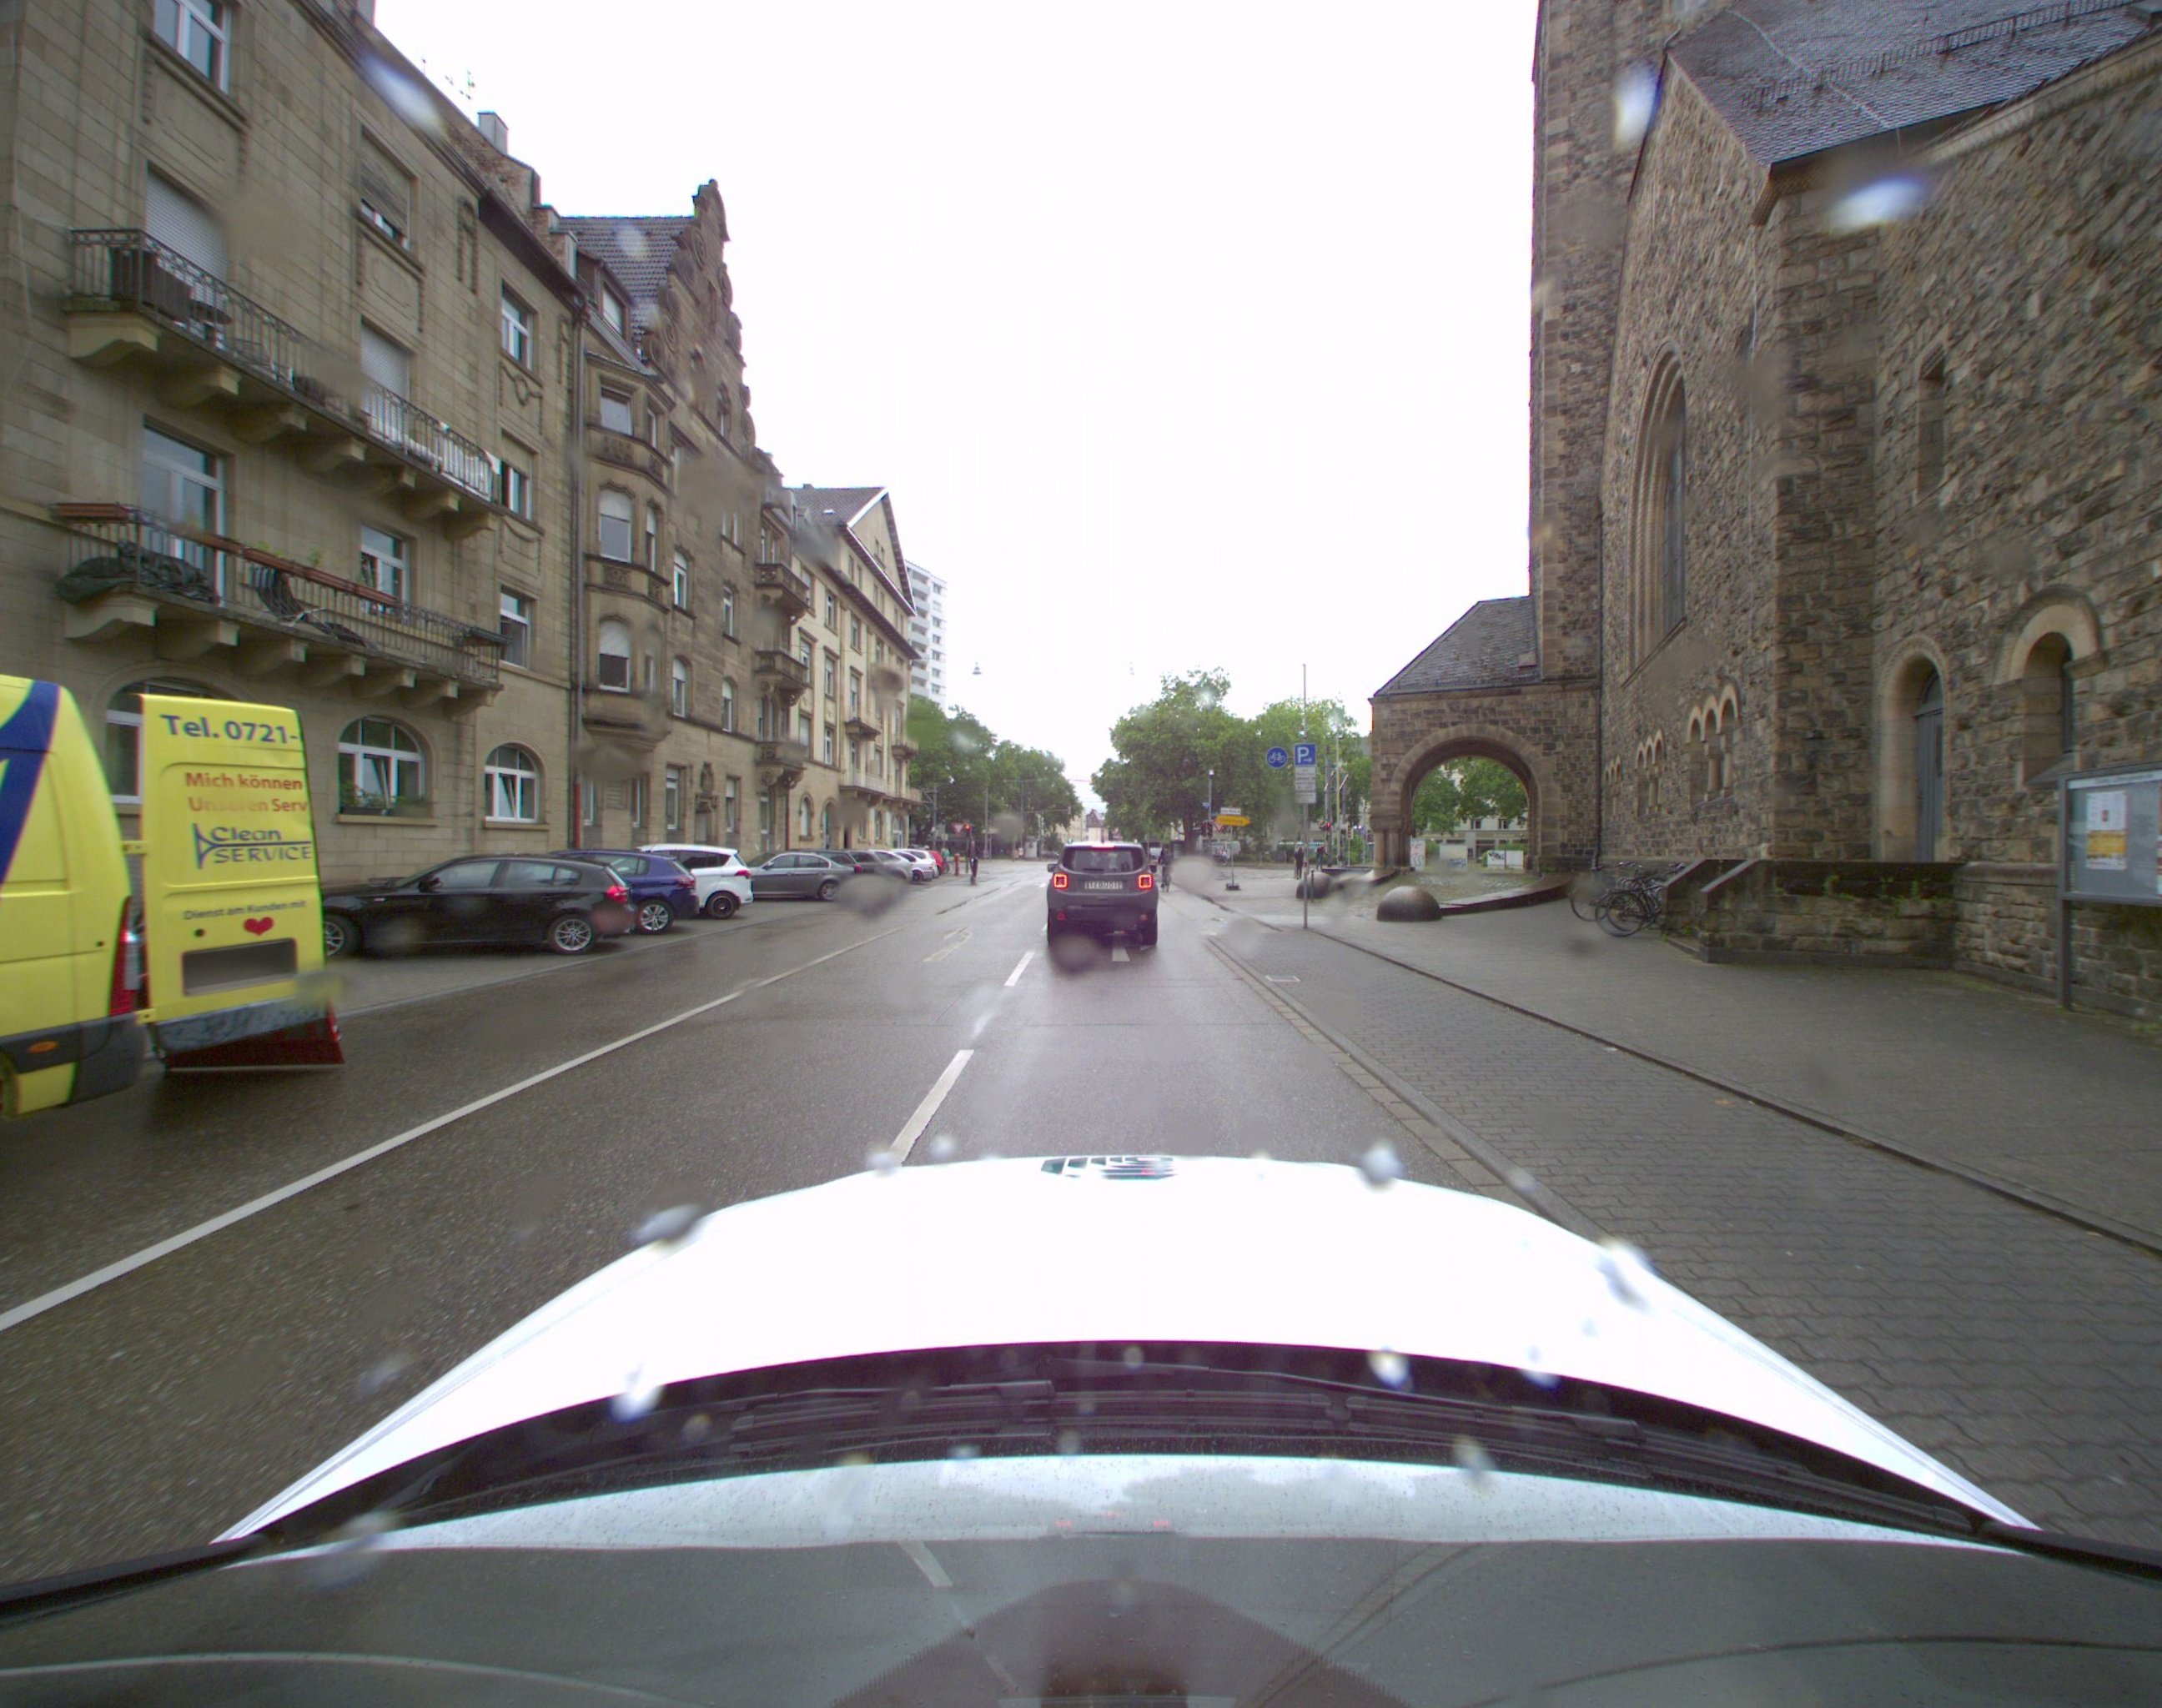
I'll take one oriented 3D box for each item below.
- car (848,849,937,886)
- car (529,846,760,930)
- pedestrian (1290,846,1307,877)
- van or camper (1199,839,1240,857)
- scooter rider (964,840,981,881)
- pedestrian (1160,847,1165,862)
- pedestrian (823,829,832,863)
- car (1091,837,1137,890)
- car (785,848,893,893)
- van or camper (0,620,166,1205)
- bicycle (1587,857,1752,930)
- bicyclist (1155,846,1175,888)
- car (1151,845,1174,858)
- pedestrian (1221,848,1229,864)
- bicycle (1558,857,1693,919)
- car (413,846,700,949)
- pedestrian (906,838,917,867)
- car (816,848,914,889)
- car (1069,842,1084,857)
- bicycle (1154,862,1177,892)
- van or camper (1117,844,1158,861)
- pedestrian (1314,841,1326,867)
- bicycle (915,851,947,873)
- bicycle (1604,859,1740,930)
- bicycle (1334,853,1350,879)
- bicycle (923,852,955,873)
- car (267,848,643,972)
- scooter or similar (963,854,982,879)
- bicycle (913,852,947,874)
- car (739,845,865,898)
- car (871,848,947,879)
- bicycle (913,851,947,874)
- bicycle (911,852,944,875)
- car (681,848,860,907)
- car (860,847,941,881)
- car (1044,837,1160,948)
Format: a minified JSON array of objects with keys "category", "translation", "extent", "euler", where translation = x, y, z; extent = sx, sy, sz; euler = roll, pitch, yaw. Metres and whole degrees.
[{"category":"car","translation":[-8.289,0.541,35.863],"extent":[3.418,1.558,1.687],"euler":[0,0,-37]},{"category":"car","translation":[-9.151,0.619,17.236],"extent":[4.063,1.555,1.778],"euler":[-1,0,-38]},{"category":"pedestrian","translation":[11.507,0.399,43.053],"extent":[0.776,1.645,0.658],"euler":[-1,0,19]},{"category":"van or camper","translation":[18.241,-0.784,107.221],"extent":[5.232,2.315,2.093],"euler":[1,1,6]},{"category":"scooter rider","translation":[-5.212,0.300,39.239],"extent":[0.708,1.935,0.503],"euler":[-1,0,0]},{"category":"pedestrian","translation":[10.580,0.054,105.538],"extent":[0.646,2.013,0.484],"euler":[0,0,15]},{"category":"pedestrian","translation":[-13.352,-0.423,42.890],"extent":[0.365,1.822,0.347],"euler":[-1,0,0]},{"category":"car","translation":[1.332,0.332,33.059],"extent":[1.763,2.013,4.002],"euler":[0,0,2]},{"category":"car","translation":[-8.766,0.550,29.568],"extent":[3.418,1.558,1.634],"euler":[0,0,-37]},{"category":"van or camper","translation":[-5.928,0.293,1.284],"extent":[2.189,2.611,5.942],"euler":[-1,0,0]},{"category":"bicycle","translation":[8.967,0.605,12.481],"extent":[1.969,1.054,0.515],"euler":[-2,-1,16]},{"category":"bicyclist","translation":[3.274,0.497,31.613],"extent":[0.684,1.617,0.884],"euler":[-1,0,1]},{"category":"car","translation":[13.242,-0.360,132.157],"extent":[3.410,2.014,1.554],"euler":[-1,0,16]},{"category":"pedestrian","translation":[14.489,0.222,81.930],"extent":[0.607,1.603,0.497],"euler":[0,0,27]},{"category":"bicycle","translation":[10.272,0.639,15.432],"extent":[1.970,1.105,0.694],"euler":[-2,-1,13]},{"category":"car","translation":[-9.018,0.668,14.433],"extent":[4.053,1.573,1.783],"euler":[-1,0,-27]},{"category":"pedestrian","translation":[-11.883,-0.133,57.132],"extent":[0.565,2.013,0.655],"euler":[0,0,2]},{"category":"car","translation":[-8.606,0.543,32.563],"extent":[3.418,1.558,1.687],"euler":[0,0,-37]},{"category":"car","translation":[-0.600,-0.560,97.845],"extent":[1.716,1.739,3.728],"euler":[0,0,-1]},{"category":"bicycle","translation":[3.273,0.872,31.661],"extent":[0.689,1.021,2.659],"euler":[-1,0,2]},{"category":"van or camper","translation":[9.576,-0.305,138.414],"extent":[6.465,2.912,2.510],"euler":[0,0,29]},{"category":"pedestrian","translation":[16.369,0.008,55.759],"extent":[0.779,1.759,0.950],"euler":[-1,0,17]},{"category":"bicycle","translation":[-8.778,0.475,47.638],"extent":[1.757,1.266,0.608],"euler":[0,0,0]},{"category":"bicycle","translation":[9.697,0.659,13.423],"extent":[1.695,1.111,0.564],"euler":[-2,-1,16]},{"category":"bicycle","translation":[11.958,0.528,37.311],"extent":[0.327,1.154,2.080],"euler":[0,0,8]},{"category":"bicycle","translation":[-8.457,0.512,48.504],"extent":[1.757,1.266,0.608],"euler":[0,0,0]},{"category":"car","translation":[-8.716,0.689,11.863],"extent":[4.053,1.512,1.783],"euler":[-1,0,-27]},{"category":"scooter or similar","translation":[-5.207,0.586,39.250],"extent":[0.698,1.165,1.385],"euler":[-1,0,0]},{"category":"bicycle","translation":[-8.629,0.499,46.600],"extent":[1.804,1.266,0.498],"euler":[0,0,0]},{"category":"car","translation":[-9.037,0.525,26.463],"extent":[3.570,1.598,1.588],"euler":[0,0,-37]},{"category":"car","translation":[-8.801,0.450,41.648],"extent":[3.418,1.558,1.687],"euler":[0,0,-37]},{"category":"bicycle","translation":[-8.530,0.495,45.912],"extent":[1.804,1.266,0.498],"euler":[0,0,0]},{"category":"bicycle","translation":[-8.537,0.508,45.364],"extent":[1.757,1.266,0.522],"euler":[0,0,0]},{"category":"car","translation":[-8.881,0.594,23.547],"extent":[4.572,1.545,1.669],"euler":[0,0,-41]},{"category":"car","translation":[-8.553,0.448,38.675],"extent":[3.418,1.558,1.687],"euler":[0,0,-37]},{"category":"car","translation":[0.381,0.572,14.447],"extent":[1.768,1.687,3.850],"euler":[-1,0,2]}]
